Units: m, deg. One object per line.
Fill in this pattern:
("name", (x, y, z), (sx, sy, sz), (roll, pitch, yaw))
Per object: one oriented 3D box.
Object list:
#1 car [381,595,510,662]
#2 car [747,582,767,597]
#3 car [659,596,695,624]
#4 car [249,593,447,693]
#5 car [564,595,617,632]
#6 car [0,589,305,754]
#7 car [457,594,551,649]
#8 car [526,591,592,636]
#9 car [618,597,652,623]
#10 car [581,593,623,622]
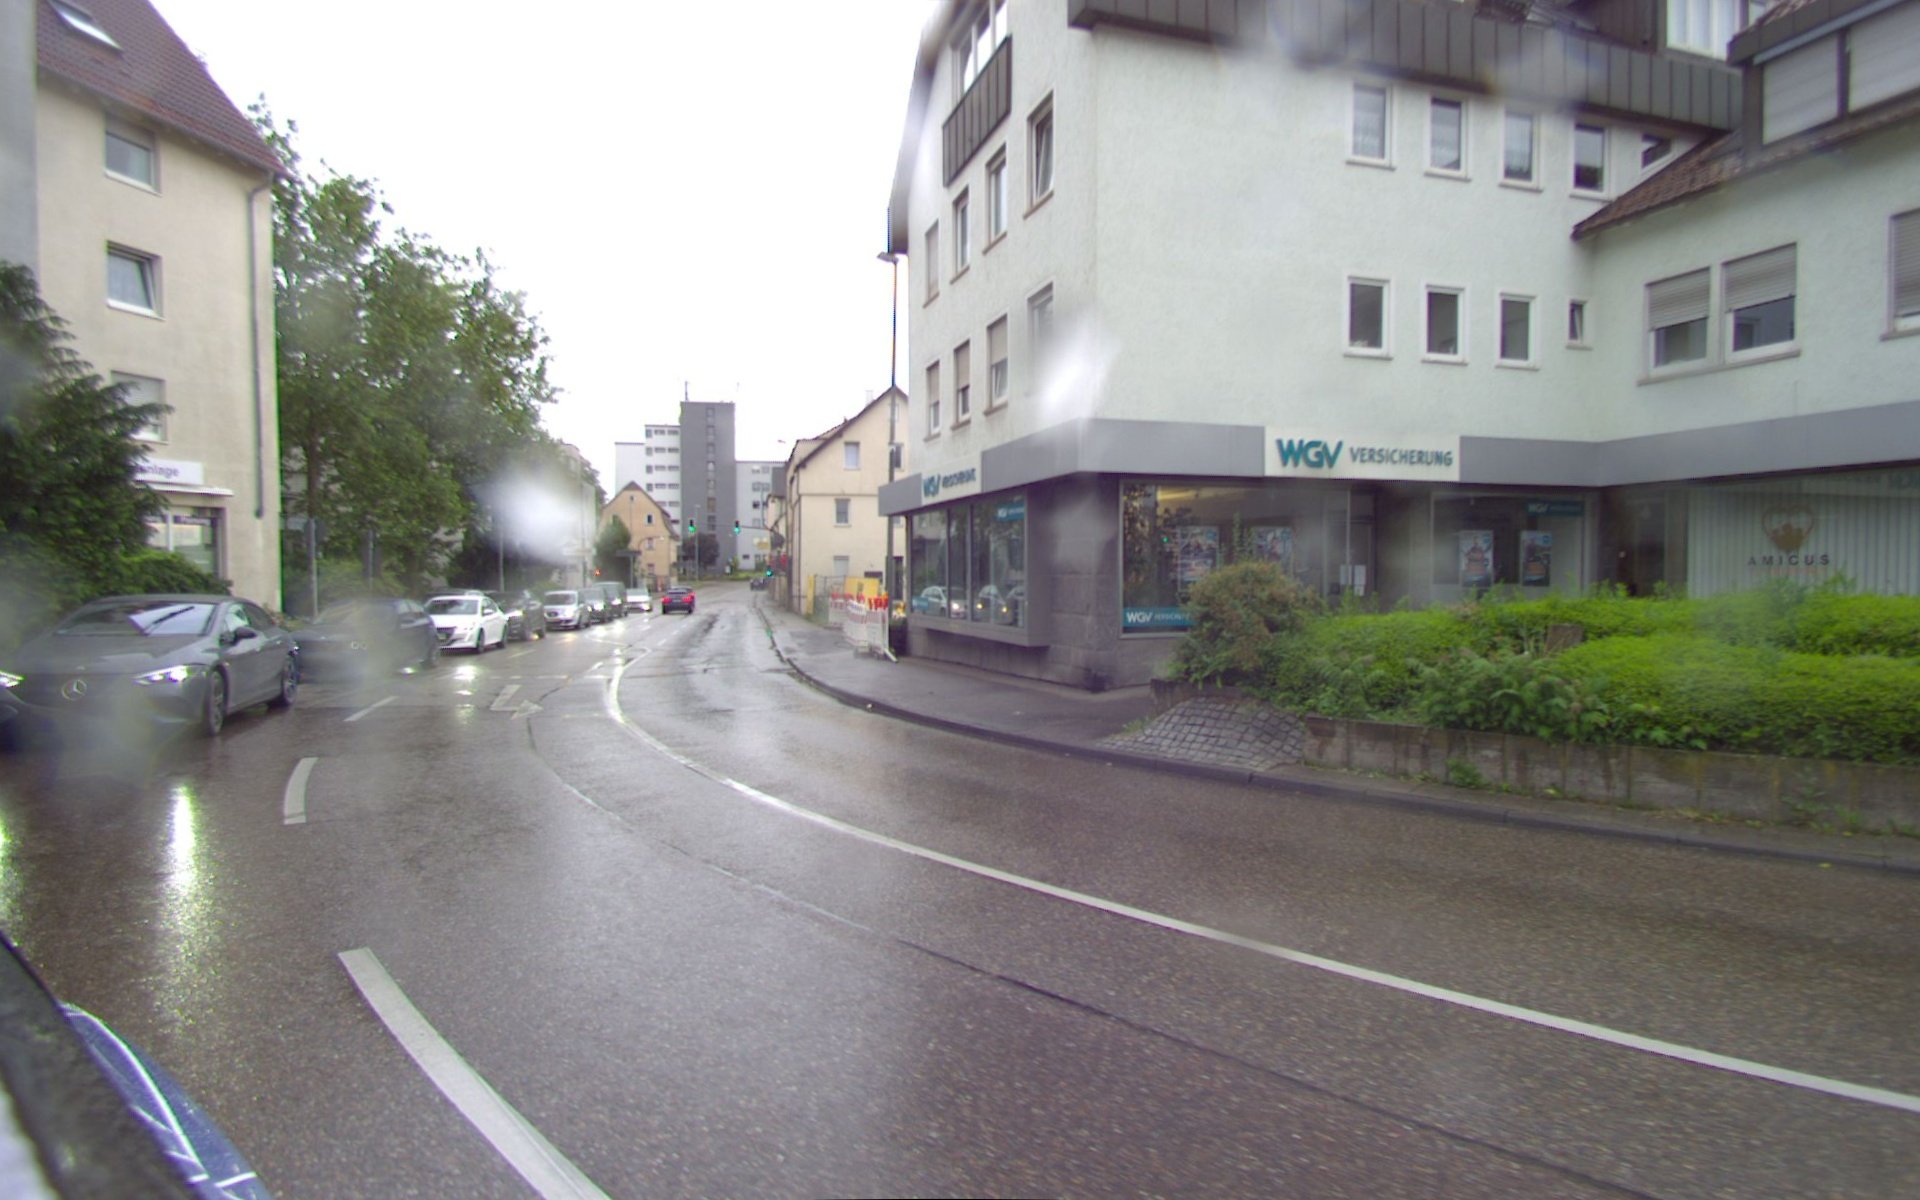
("car", (-13.010, 0.658, 25.869), (1.967, 1.464, 4.010), (-2, 1, -12))
("car", (-24.415, -1.245, 121.944), (1.802, 1.724, 3.799), (0, 1, -3))
("car", (-16.888, 0.615, 60.495), (1.784, 1.577, 4.010), (-2, 0, -12))
("car", (-10.942, 0.673, 18.466), (1.745, 1.544, 4.389), (-1, 1, -12))
("car", (-17.146, 0.582, 47.102), (1.803, 1.563, 4.010), (-2, 1, -13))
("car", (-9.177, 0.644, 11.505), (1.965, 1.504, 4.328), (-1, 1, -20))
("car", (-14.398, 0.624, 32.153), (1.785, 1.577, 4.009), (-2, 1, -11))
("car", (-15.874, 0.490, 40.227), (1.815, 1.633, 4.010), (-1, 1, -13))
("car", (-20.928, 0.640, 65.237), (1.966, 1.563, 4.012), (-2, 0, -17))
("car", (-19.479, 0.380, 55.229), (1.823, 1.489, 4.012), (-1, 1, -15))
